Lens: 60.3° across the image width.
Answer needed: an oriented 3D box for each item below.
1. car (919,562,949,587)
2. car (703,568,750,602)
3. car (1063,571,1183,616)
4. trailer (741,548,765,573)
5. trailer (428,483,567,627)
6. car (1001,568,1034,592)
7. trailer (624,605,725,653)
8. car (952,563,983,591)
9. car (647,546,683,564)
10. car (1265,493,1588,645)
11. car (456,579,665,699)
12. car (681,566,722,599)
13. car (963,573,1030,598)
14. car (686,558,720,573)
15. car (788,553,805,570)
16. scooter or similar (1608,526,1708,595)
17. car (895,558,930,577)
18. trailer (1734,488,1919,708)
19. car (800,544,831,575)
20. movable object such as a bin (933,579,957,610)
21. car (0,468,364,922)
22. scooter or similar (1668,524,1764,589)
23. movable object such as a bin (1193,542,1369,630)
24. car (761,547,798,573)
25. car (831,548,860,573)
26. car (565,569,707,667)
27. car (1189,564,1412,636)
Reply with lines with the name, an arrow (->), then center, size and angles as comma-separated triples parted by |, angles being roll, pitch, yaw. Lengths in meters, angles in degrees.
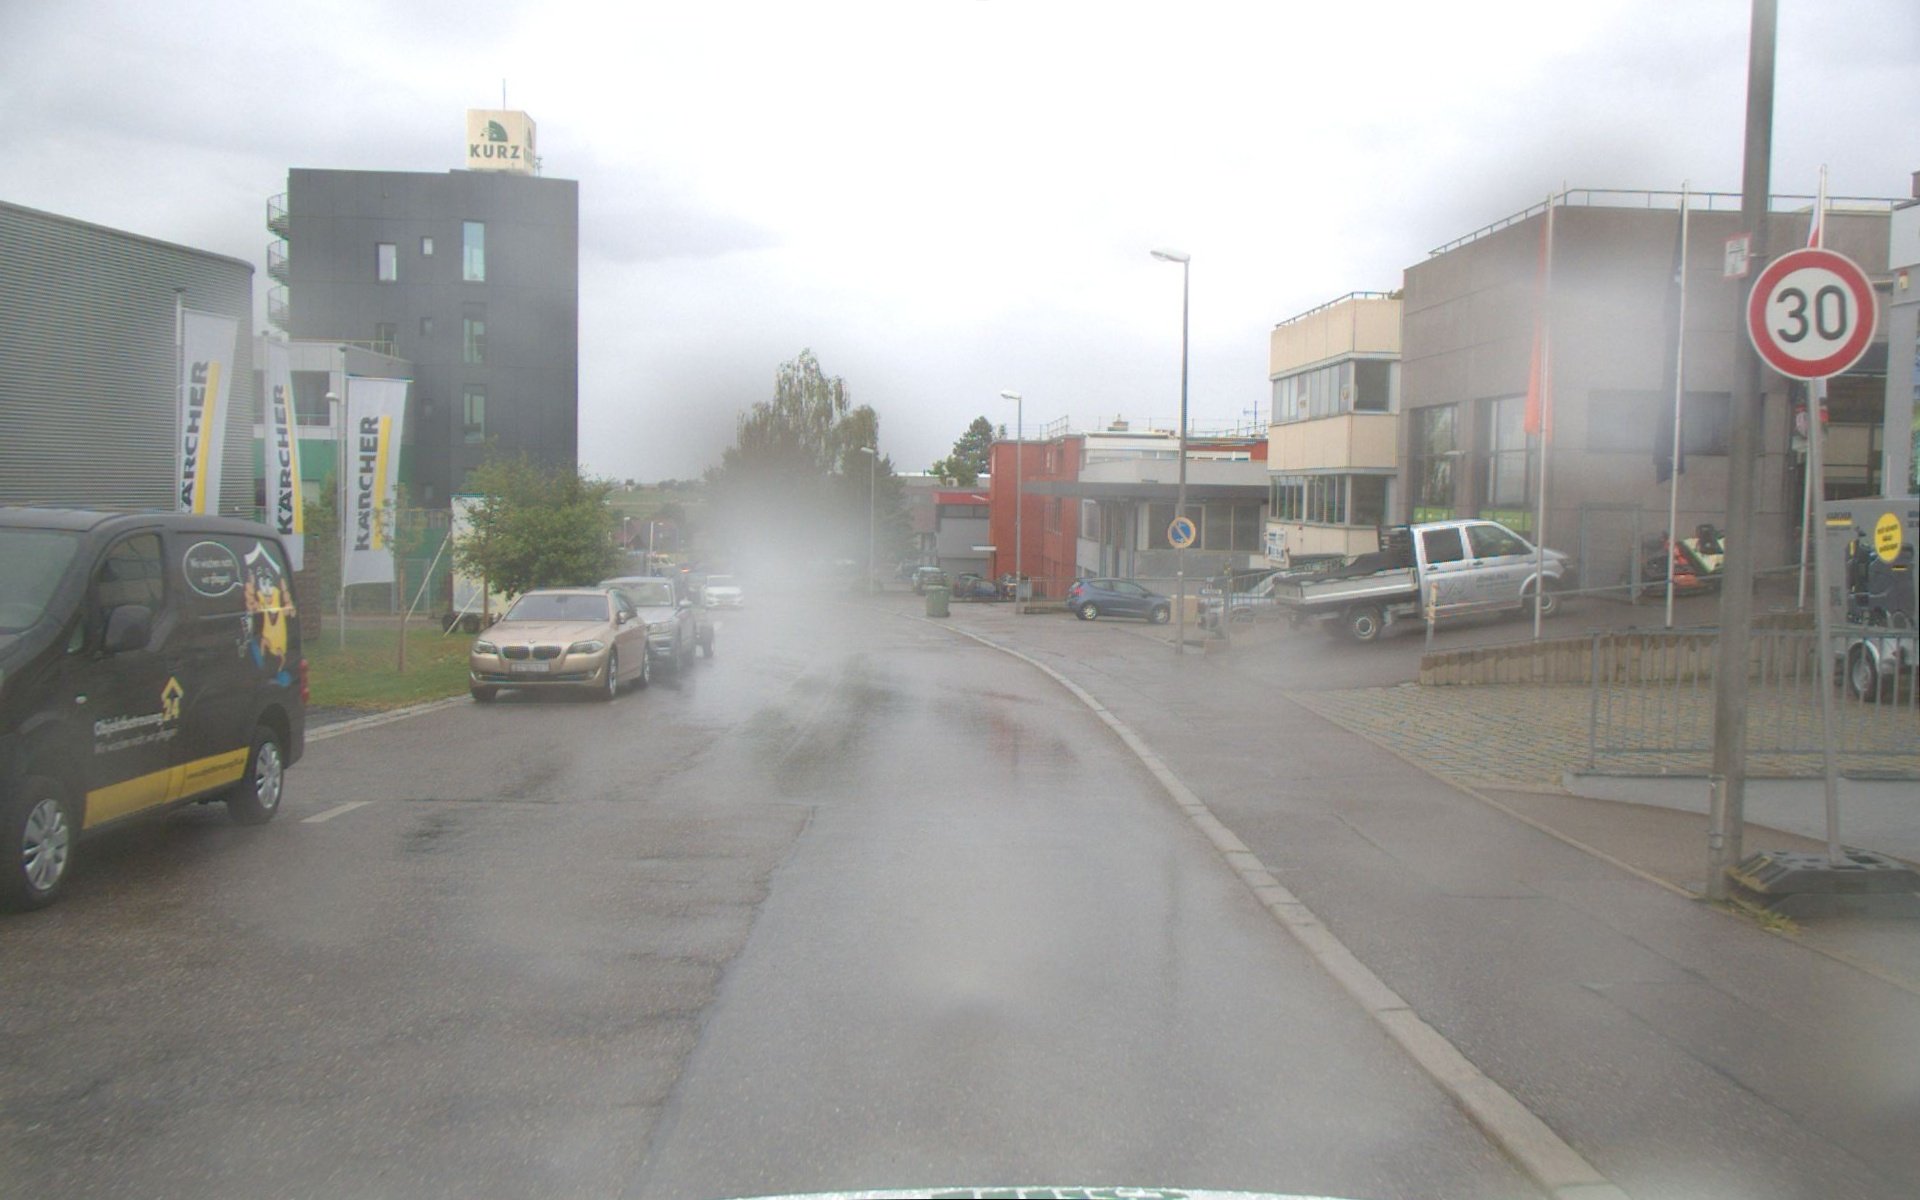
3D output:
car -> -1.589, -1.544, 101.213 | 1.663, 1.501, 3.998 | 0, 0, -3
car -> -10.947, -0.700, 77.515 | 1.740, 1.539, 4.129 | -1, 0, -14
car -> 5.581, -0.224, 56.835 | 3.818, 1.407, 1.819 | 2, 0, -4
trailer -> -17.396, -3.323, 138.812 | 1.819, 2.048, 3.990 | 0, 1, -10
trailer -> -14.317, -1.353, 51.132 | 4.102, 4.276, 1.999 | 0, 1, 36
car -> 3.506, -1.226, 101.167 | 1.694, 1.446, 3.998 | 0, 0, -3
trailer -> -5.837, 0.575, 34.143 | 1.647, 0.904, 3.894 | 0, 0, -4
car -> 0.460, -1.414, 101.946 | 1.704, 1.682, 3.998 | 0, 0, -3
car -> -38.009, -5.794, 213.052 | 4.152, 2.264, 2.001 | 0, 0, 3
car -> 8.607, -0.573, 30.867 | 5.196, 2.047, 2.220 | -8, 1, -3
car -> -5.485, 0.456, 23.393 | 1.917, 1.486, 5.245 | 0, 1, -3
car -> -13.794, -0.972, 88.127 | 1.672, 1.637, 3.984 | -1, 2, -15
car -> 1.818, -0.743, 83.562 | 3.331, 1.183, 1.791 | 0, 1, -1
car -> -27.951, -3.706, 179.658 | 2.434, 1.566, 3.961 | 0, 0, -29
car -> -13.937, -3.293, 141.045 | 1.266, 1.449, 2.541 | 0, 0, -9
scooter or similar -> 13.591, -0.792, 32.275 | 1.043, 1.245, 2.065 | -3, 3, 0
car -> -3.573, -2.443, 123.223 | 2.500, 1.375, 1.240 | 0, 1, -8
trailer -> 11.625, -0.091, 20.608 | 1.849, 2.458, 4.308 | 0, 2, -1
car -> -11.831, -3.290, 135.567 | 2.153, 2.502, 3.989 | 0, 0, -11
movable object such as a bin -> -0.540, -0.195, 60.798 | 0.791, 1.111, 0.708 | 0, 1, -8
car -> -4.926, 0.357, 8.764 | 1.877, 1.863, 4.846 | 1, 1, -2
scooter or similar -> 14.784, -0.842, 32.388 | 0.983, 1.175, 1.845 | -3, 1, 0
movable object such as a bin -> 8.114, -0.368, 41.976 | 4.169, 2.147, 1.476 | 0, 1, -3
car -> -14.753, -3.254, 134.958 | 2.230, 2.049, 3.979 | 0, 0, -18
car -> -9.487, -3.253, 136.682 | 2.106, 2.049, 3.931 | 0, 0, -9
car -> -5.732, 0.279, 29.762 | 1.919, 1.604, 4.836 | -1, 0, -4
car -> 8.195, -0.020, 40.052 | 4.990, 1.641, 1.924 | 0, 2, -4
